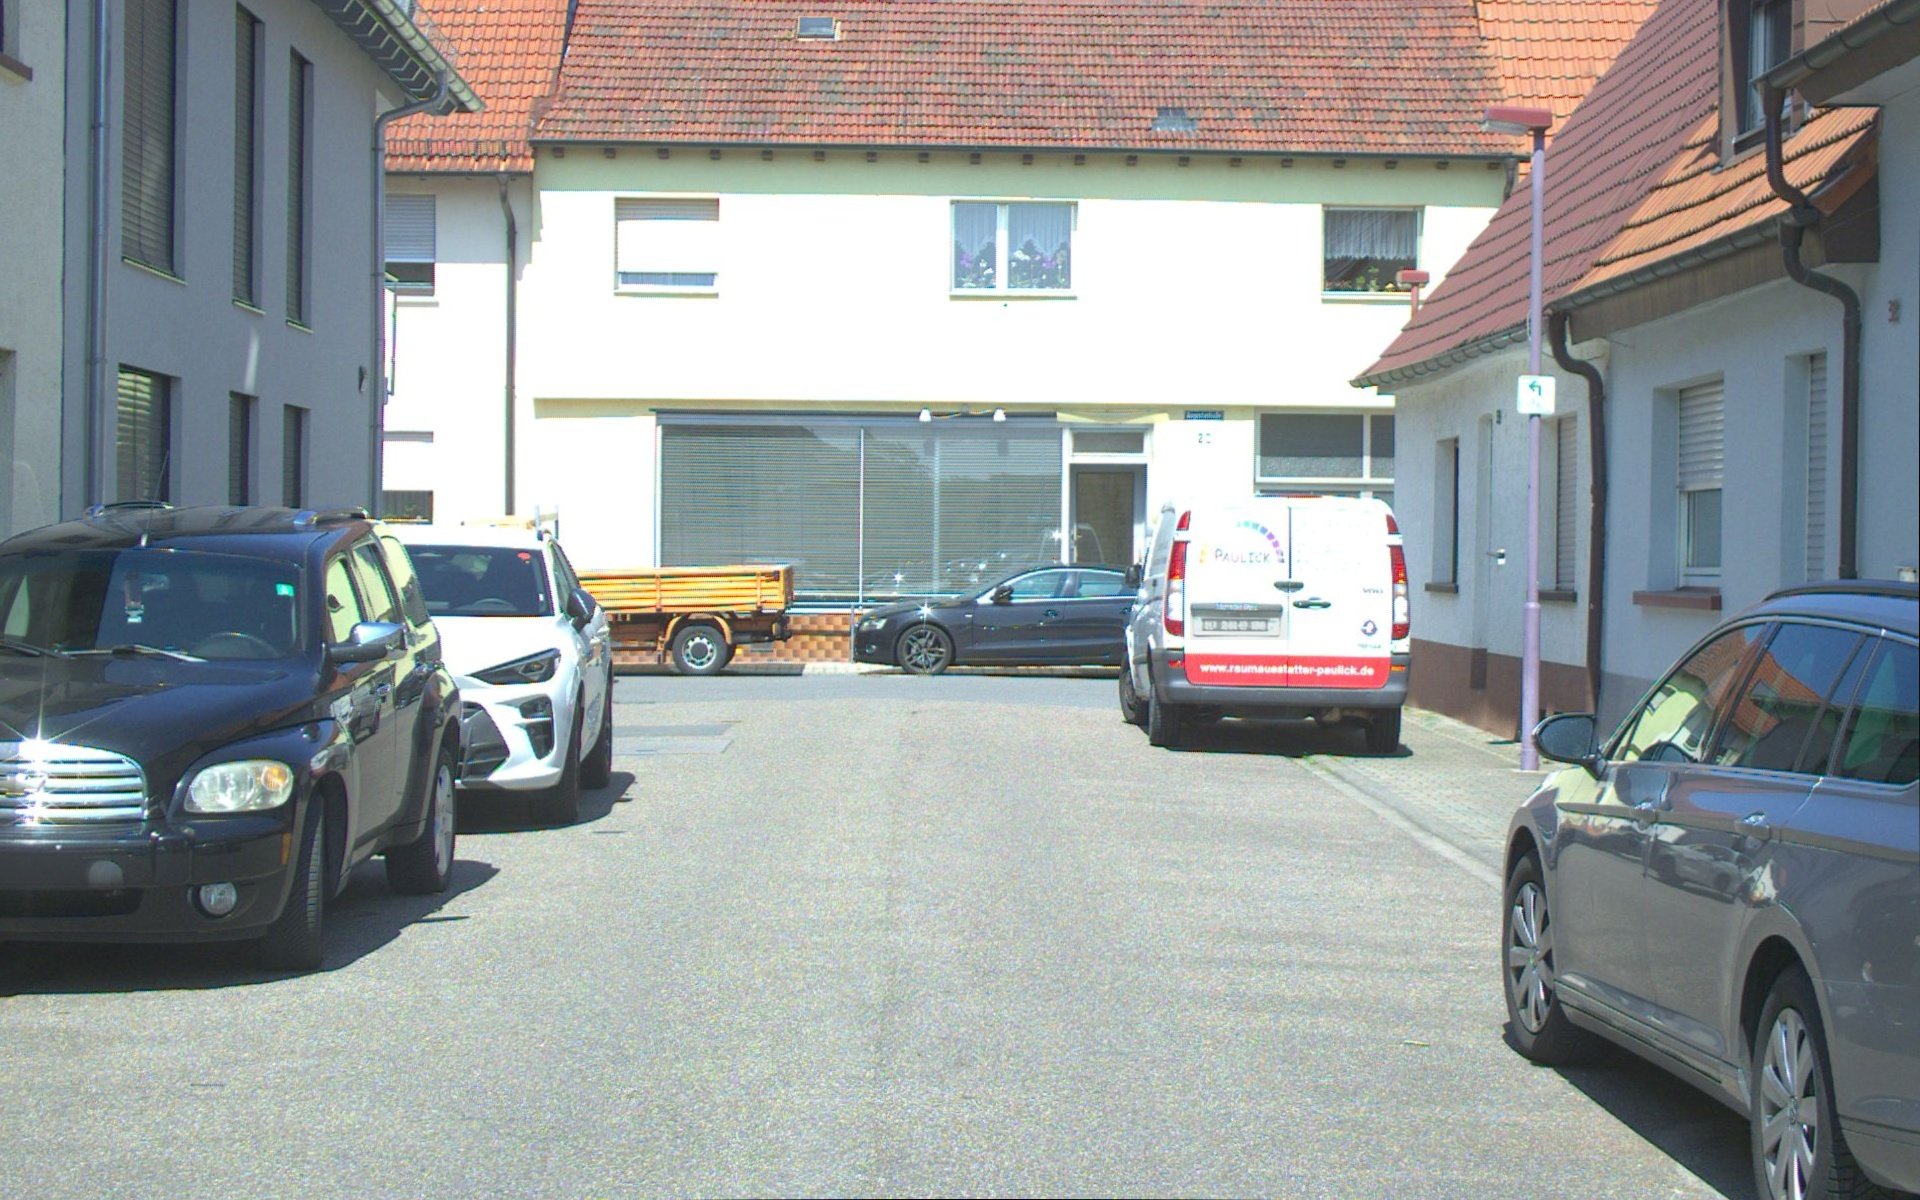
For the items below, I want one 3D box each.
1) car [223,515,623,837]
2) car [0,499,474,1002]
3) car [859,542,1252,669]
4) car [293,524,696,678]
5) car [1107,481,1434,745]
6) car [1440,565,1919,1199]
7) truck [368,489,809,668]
[{"bbox_3d":[-2.912,0.348,19.469,1.774,1.610,4.349,0,1,-3],"label":"car"},{"bbox_3d":[-3.025,0.456,13.044,1.722,1.610,3.989,0,1,1],"label":"car"},{"bbox_3d":[1.104,0.089,41.573,4.616,1.389,1.928,1,-2,-2],"label":"car"},{"bbox_3d":[-5.111,-0.015,37.563,4.275,1.577,1.759,0,2,35],"label":"car"},{"bbox_3d":[2.327,0.054,27.165,2.012,1.832,5.265,2,1,-1],"label":"car"},{"bbox_3d":[2.540,0.672,8.595,1.838,1.443,4.776,2,1,-2],"label":"car"},{"bbox_3d":[-4.410,-0.258,41.462,5.063,2.007,2.190,1,0,0],"label":"truck"}]
